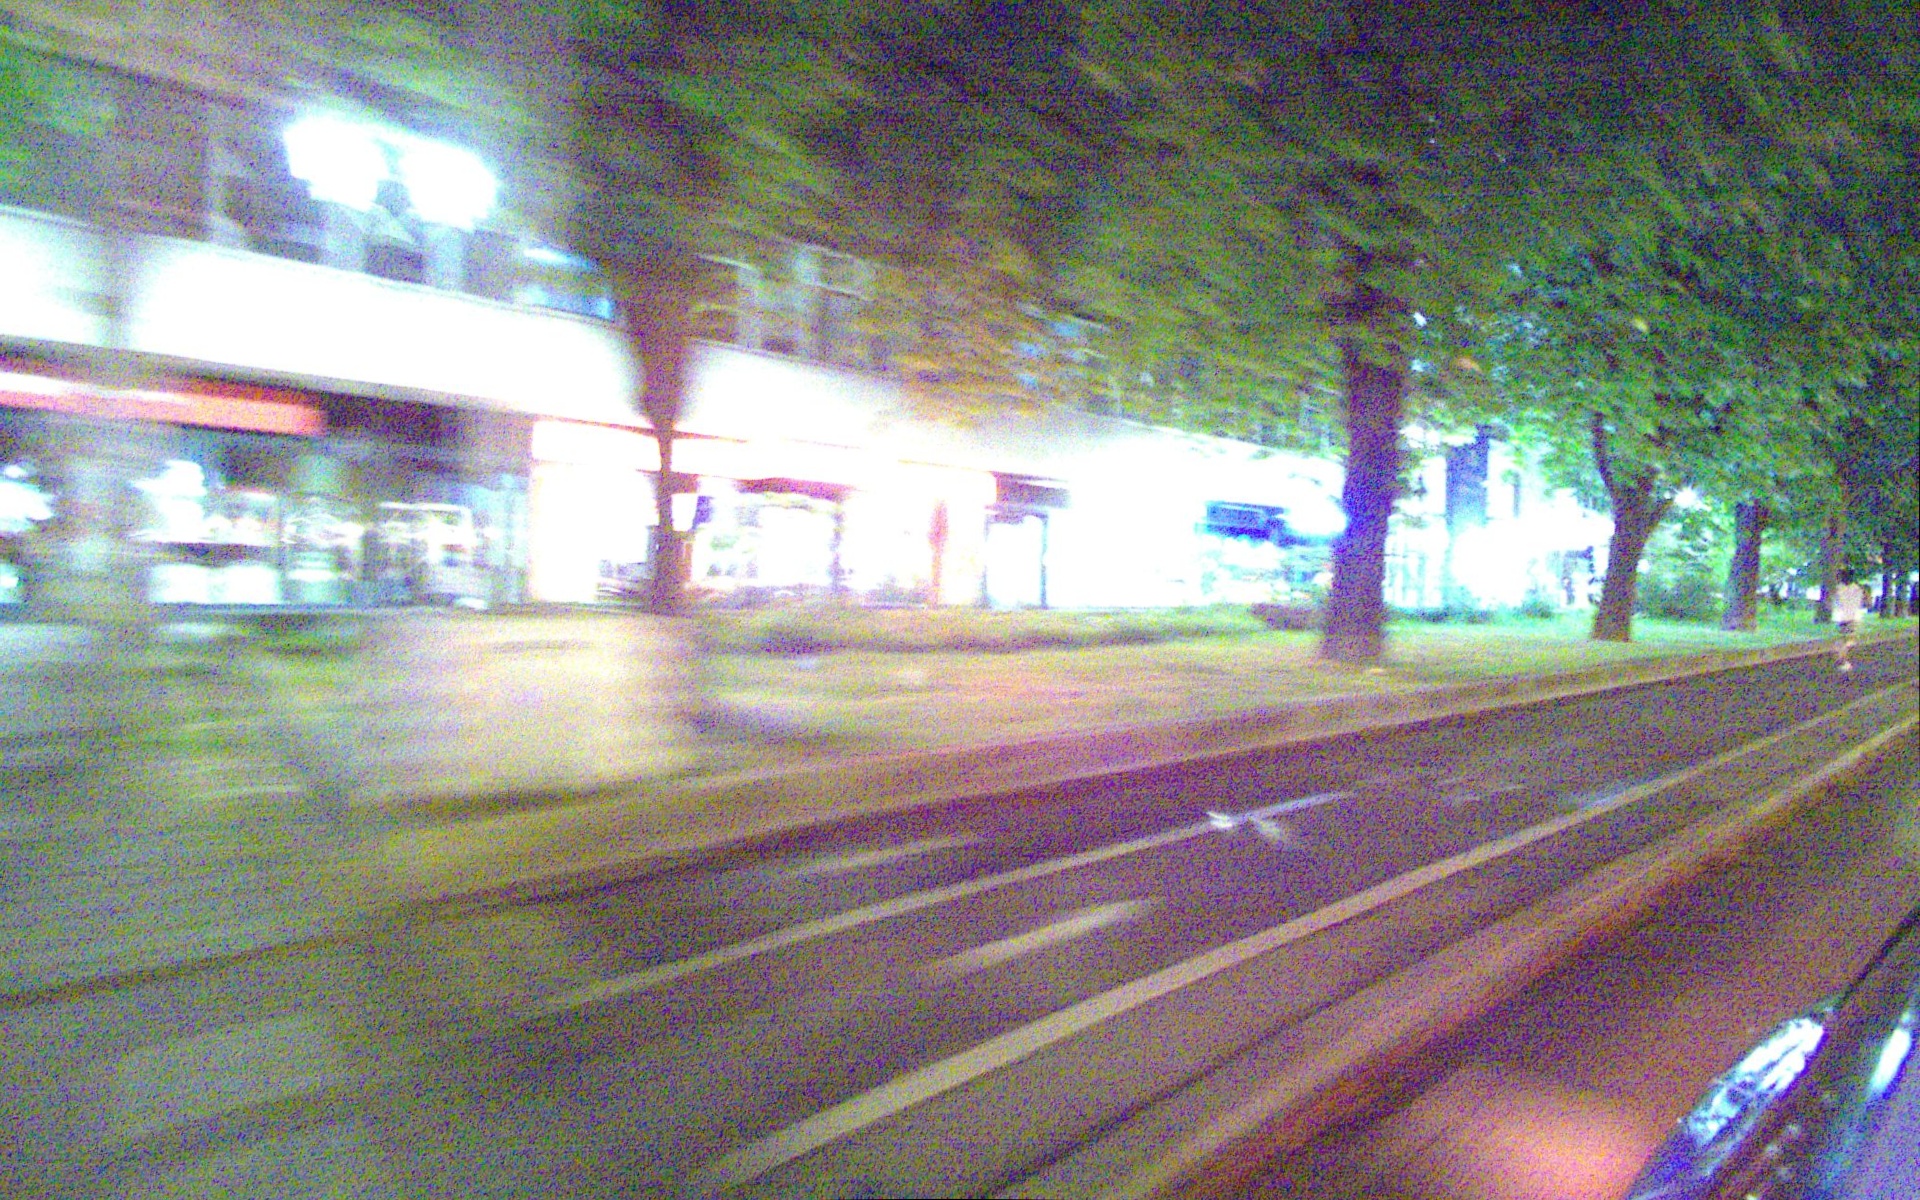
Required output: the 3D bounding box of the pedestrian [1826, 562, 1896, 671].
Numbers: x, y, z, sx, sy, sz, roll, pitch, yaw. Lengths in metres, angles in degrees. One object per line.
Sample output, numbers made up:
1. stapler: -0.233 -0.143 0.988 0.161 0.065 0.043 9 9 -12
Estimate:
1. pedestrian: 15.826 0.266 17.772 1.062 1.841 0.704 0 2 -40
